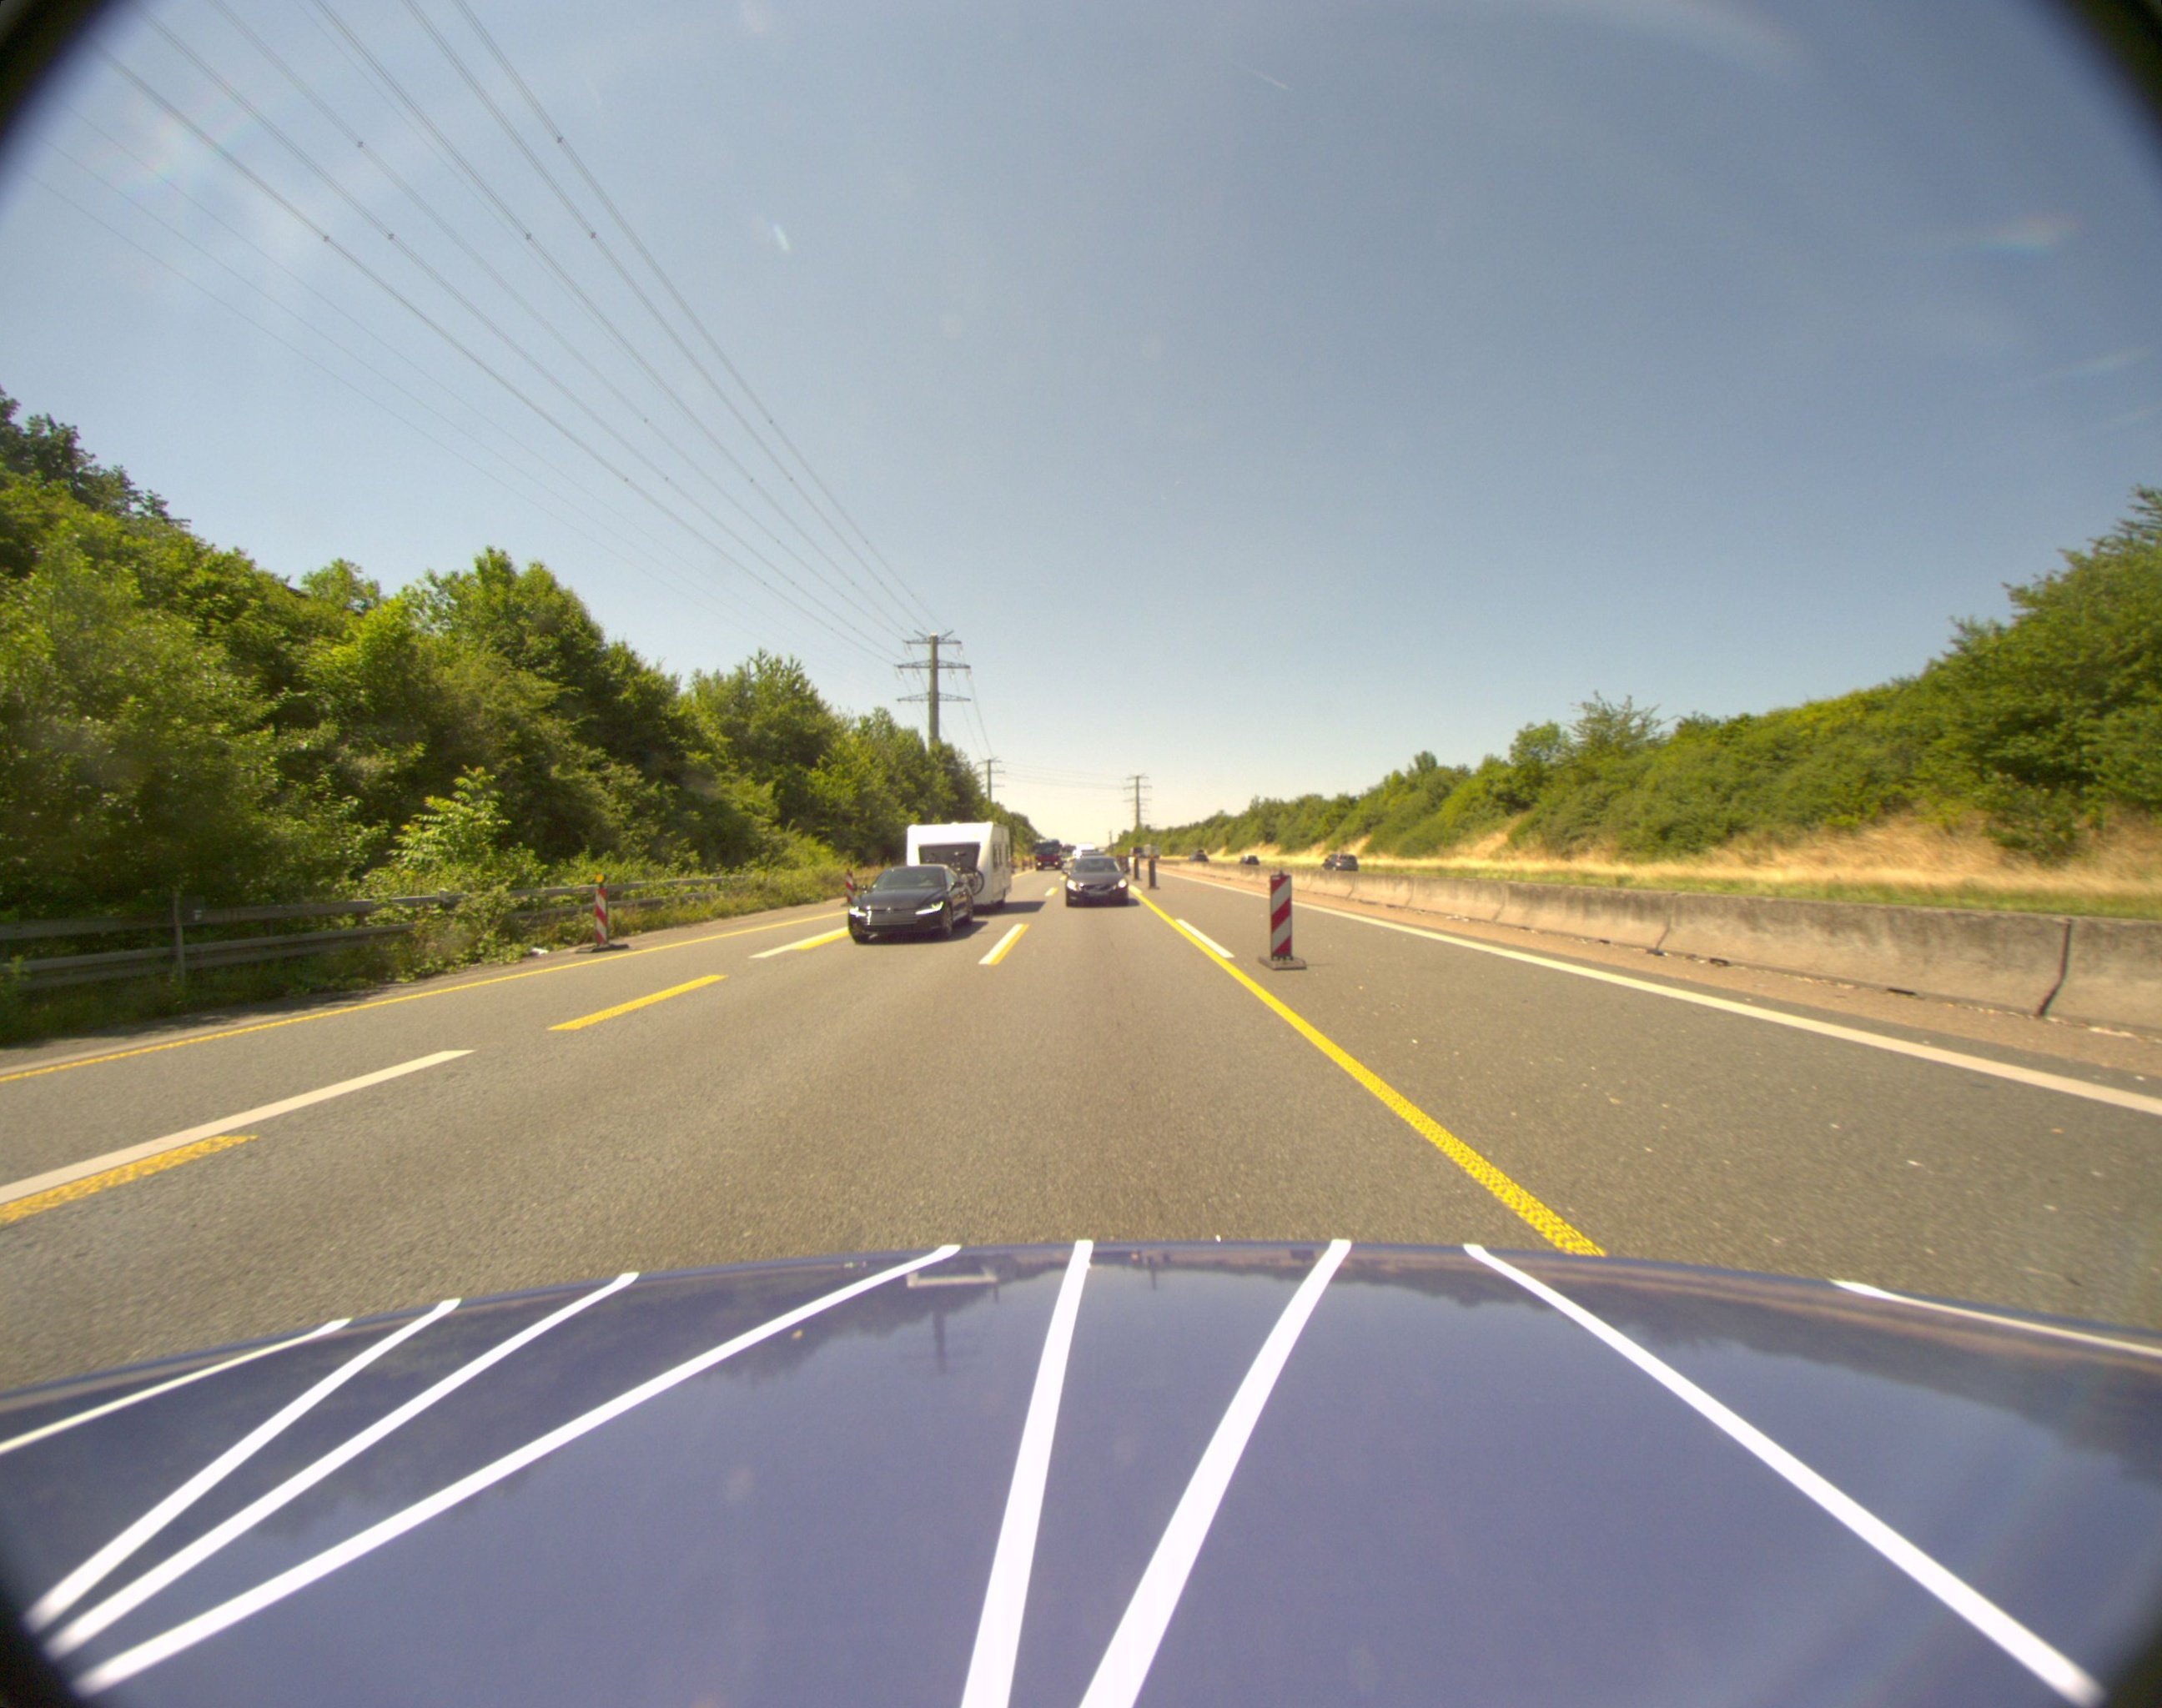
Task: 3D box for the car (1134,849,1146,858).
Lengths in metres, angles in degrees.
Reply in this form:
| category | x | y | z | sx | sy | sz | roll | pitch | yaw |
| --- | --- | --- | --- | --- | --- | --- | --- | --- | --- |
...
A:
| category | x | y | z | sx | sy | sz | roll | pitch | yaw |
| --- | --- | --- | --- | --- | --- | --- | --- | --- | --- |
| car | 11.052 | -0.074 | 143.090 | 1.998 | 1.591 | 4.582 | 0 | 1 | 1 |

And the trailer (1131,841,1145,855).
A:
| category | x | y | z | sx | sy | sz | roll | pitch | yaw |
| --- | --- | --- | --- | --- | --- | --- | --- | --- | --- |
| trailer | 17.489 | -1.728 | 233.576 | 3.168 | 4.156 | 13.681 | 0 | 0 | -1 |

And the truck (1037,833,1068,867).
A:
| category | x | y | z | sx | sy | sz | roll | pitch | yaw |
| --- | --- | --- | --- | --- | --- | --- | --- | --- | --- |
| truck | -2.863 | -0.397 | 78.124 | 2.431 | 3.122 | 7.648 | -4 | 0 | 2 |

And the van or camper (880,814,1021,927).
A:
| category | x | y | z | sx | sy | sz | roll | pitch | yaw |
| --- | --- | --- | --- | --- | --- | --- | --- | --- | --- |
| van or camper | -3.381 | 0.363 | 21.993 | 2.432 | 2.549 | 8.417 | -2 | 0 | 1 |

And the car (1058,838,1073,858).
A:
| category | x | y | z | sx | sy | sz | roll | pitch | yaw |
| --- | --- | --- | --- | --- | --- | --- | --- | --- | --- |
| car | -3.029 | -1.182 | 149.582 | 2.397 | 3.779 | 10.273 | -2 | 1 | 1 |

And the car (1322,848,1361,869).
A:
| category | x | y | z | sx | sy | sz | roll | pitch | yaw |
| --- | --- | --- | --- | --- | --- | --- | --- | --- | --- |
| car | 19.284 | 0.296 | 56.432 | 1.503 | 1.539 | 3.999 | -1 | 1 | 0 |

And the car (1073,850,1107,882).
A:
| category | x | y | z | sx | sy | sz | roll | pitch | yaw |
| --- | --- | --- | --- | --- | --- | --- | --- | --- | --- |
| car | 0.558 | 0.614 | 43.014 | 1.675 | 1.619 | 4.691 | -3 | 0 | 2 |

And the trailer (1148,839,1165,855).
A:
| category | x | y | z | sx | sy | sz | roll | pitch | yaw |
| --- | --- | --- | --- | --- | --- | --- | --- | --- | --- |
| trailer | 19.719 | -1.853 | 200.430 | 2.960 | 4.038 | 13.635 | 1 | 0 | 0 |

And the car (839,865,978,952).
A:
| category | x | y | z | sx | sy | sz | roll | pitch | yaw |
| --- | --- | --- | --- | --- | --- | --- | --- | --- | --- |
| car | -3.351 | 0.998 | 15.627 | 1.800 | 1.399 | 4.209 | -2 | 0 | 1 |

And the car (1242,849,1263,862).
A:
| category | x | y | z | sx | sy | sz | roll | pitch | yaw |
| --- | --- | --- | --- | --- | --- | --- | --- | --- | --- |
| car | 19.839 | 0.204 | 88.055 | 1.578 | 1.456 | 3.778 | -1 | 1 | 1 |

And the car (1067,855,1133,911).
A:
| category | x | y | z | sx | sy | sz | roll | pitch | yaw |
| --- | --- | --- | --- | --- | --- | --- | --- | --- | --- |
| car | 0.600 | 0.805 | 22.991 | 1.798 | 1.433 | 4.000 | -2 | 0 | 2 |

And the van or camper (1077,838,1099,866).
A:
| category | x | y | z | sx | sy | sz | roll | pitch | yaw |
| --- | --- | --- | --- | --- | --- | --- | --- | --- | --- |
| van or camper | 0.700 | -0.208 | 74.481 | 1.998 | 2.604 | 5.629 | 0 | 0 | 2 |

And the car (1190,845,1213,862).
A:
| category | x | y | z | sx | sy | sz | roll | pitch | yaw |
| --- | --- | --- | --- | --- | --- | --- | --- | --- | --- |
| car | 12.818 | -0.089 | 80.961 | 1.746 | 1.807 | 4.622 | -1 | 1 | 0 |
